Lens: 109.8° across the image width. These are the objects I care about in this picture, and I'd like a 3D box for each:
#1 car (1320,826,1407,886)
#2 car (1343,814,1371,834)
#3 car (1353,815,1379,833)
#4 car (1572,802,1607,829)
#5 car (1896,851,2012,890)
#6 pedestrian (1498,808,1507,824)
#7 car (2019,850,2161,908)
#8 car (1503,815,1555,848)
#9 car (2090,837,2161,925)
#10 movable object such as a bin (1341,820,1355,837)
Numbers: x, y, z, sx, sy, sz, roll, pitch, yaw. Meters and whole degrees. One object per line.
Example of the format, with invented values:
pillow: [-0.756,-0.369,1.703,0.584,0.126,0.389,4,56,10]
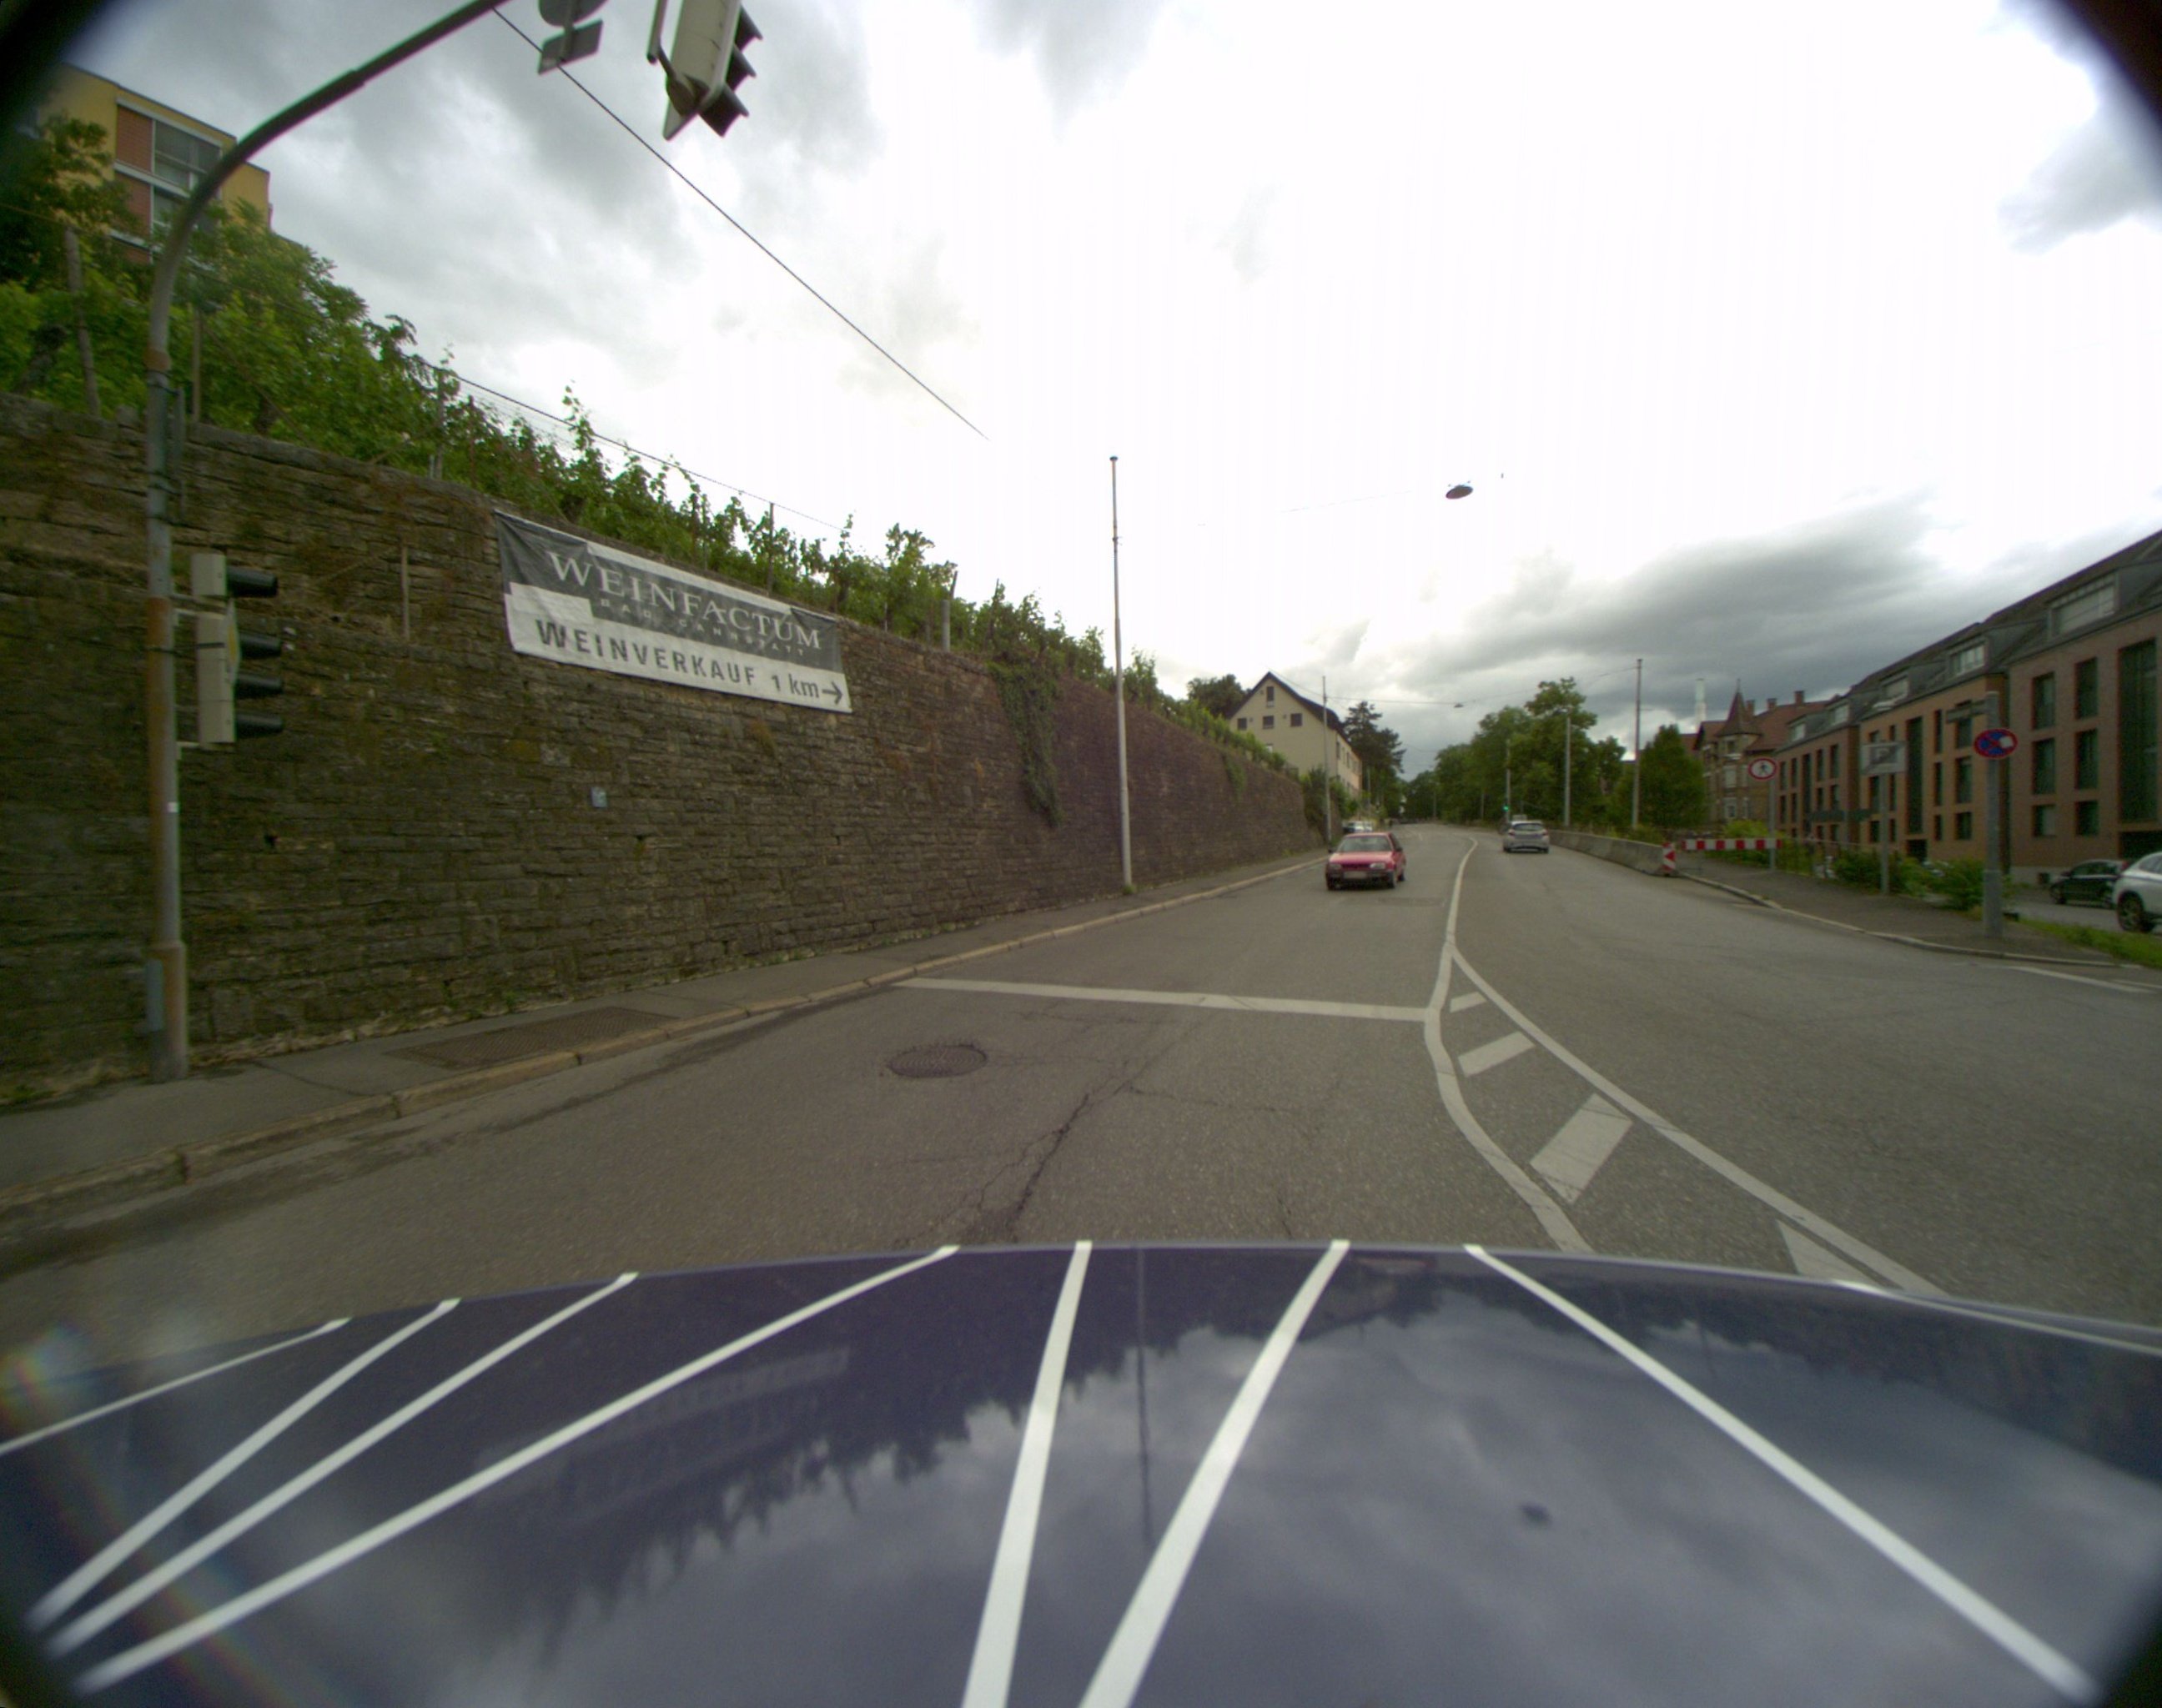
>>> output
car: [7.681,-0.002,20.435,1.643,1.430,4.006,-1,2,28]
car: [24.659,-2.661,67.705,1.796,1.566,4.061,-2,3,27]
car: [27.047,-2.867,72.032,1.729,1.566,4.254,-2,3,27]
car: [52.637,-4.056,78.752,2.560,2.568,5.743,-2,3,30]
car: [38.157,0.684,33.371,1.994,1.478,4.007,1,2,28]
pedestrian: [44.942,-4.059,81.014,0.733,1.703,0.697,0,3,30]
car: [33.252,0.758,24.617,1.995,1.653,4.006,2,2,25]
car: [20.787,-1.054,35.399,1.670,1.459,3.649,2,2,24]
car: [20.099,0.526,12.978,1.829,1.505,4.430,-1,2,30]
movable object such as a bin: [18.377,-1.728,52.242,0.809,1.120,0.876,-1,3,26]
